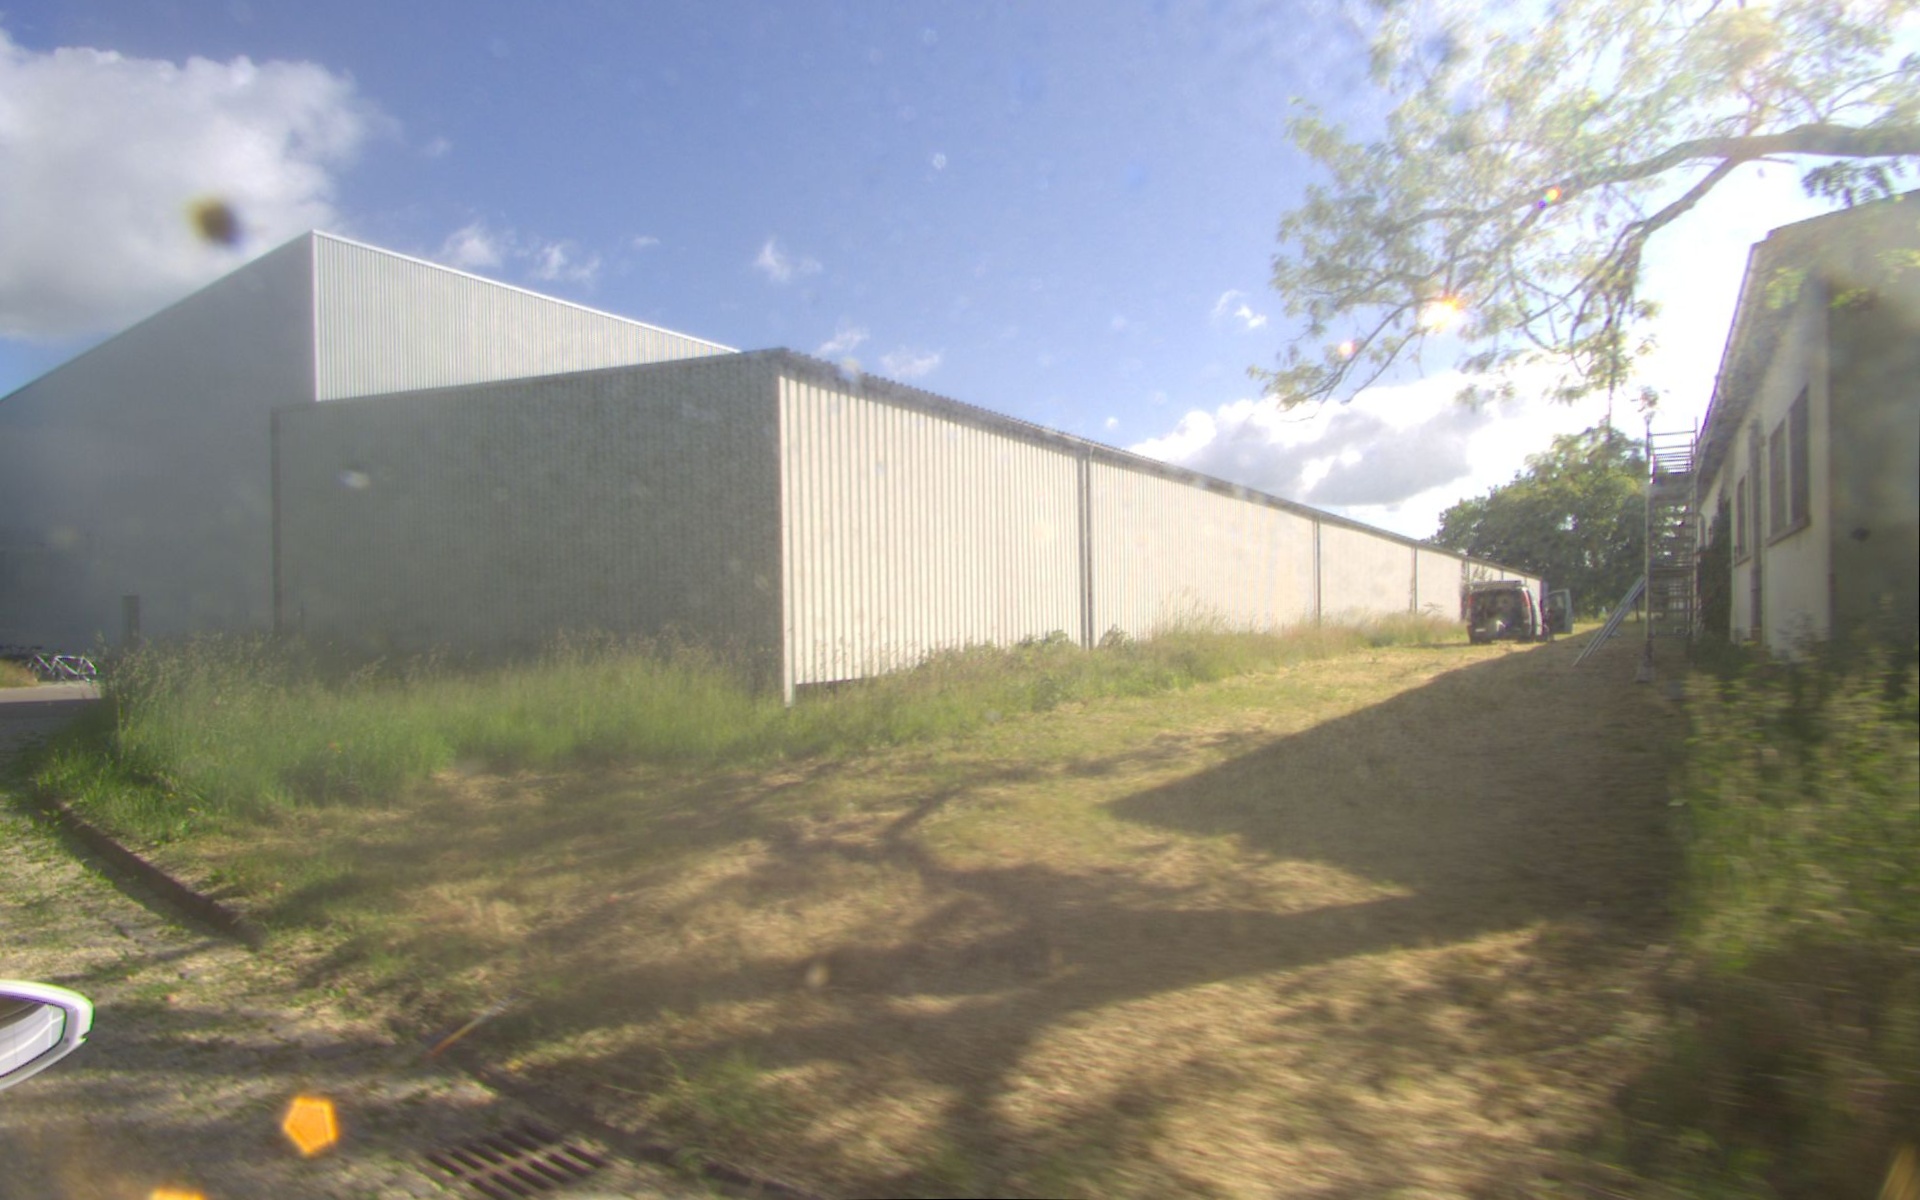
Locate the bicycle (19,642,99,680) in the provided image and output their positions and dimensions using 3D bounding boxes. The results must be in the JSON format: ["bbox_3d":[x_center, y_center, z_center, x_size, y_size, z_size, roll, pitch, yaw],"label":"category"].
[{"bbox_3d":[-27.869,1.869,31.001,0.518,1.096,1.786,-1,-1,37],"label":"bicycle"}]

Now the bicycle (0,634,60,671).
[{"bbox_3d":[-34.220,1.877,35.998,1.127,1.282,2.619,-1,-1,39],"label":"bicycle"}]

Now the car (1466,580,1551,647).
[{"bbox_3d":[17.886,0.453,32.572,1.973,2.040,3.975,-1,-1,35],"label":"car"}]

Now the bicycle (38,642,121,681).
[{"bbox_3d":[-25.865,1.790,29.441,0.452,1.076,1.797,-1,-1,30],"label":"bicycle"}]

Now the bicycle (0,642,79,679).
[{"bbox_3d":[-29.899,1.939,32.490,0.519,1.109,1.883,-2,-1,34],"label":"bicycle"}]
